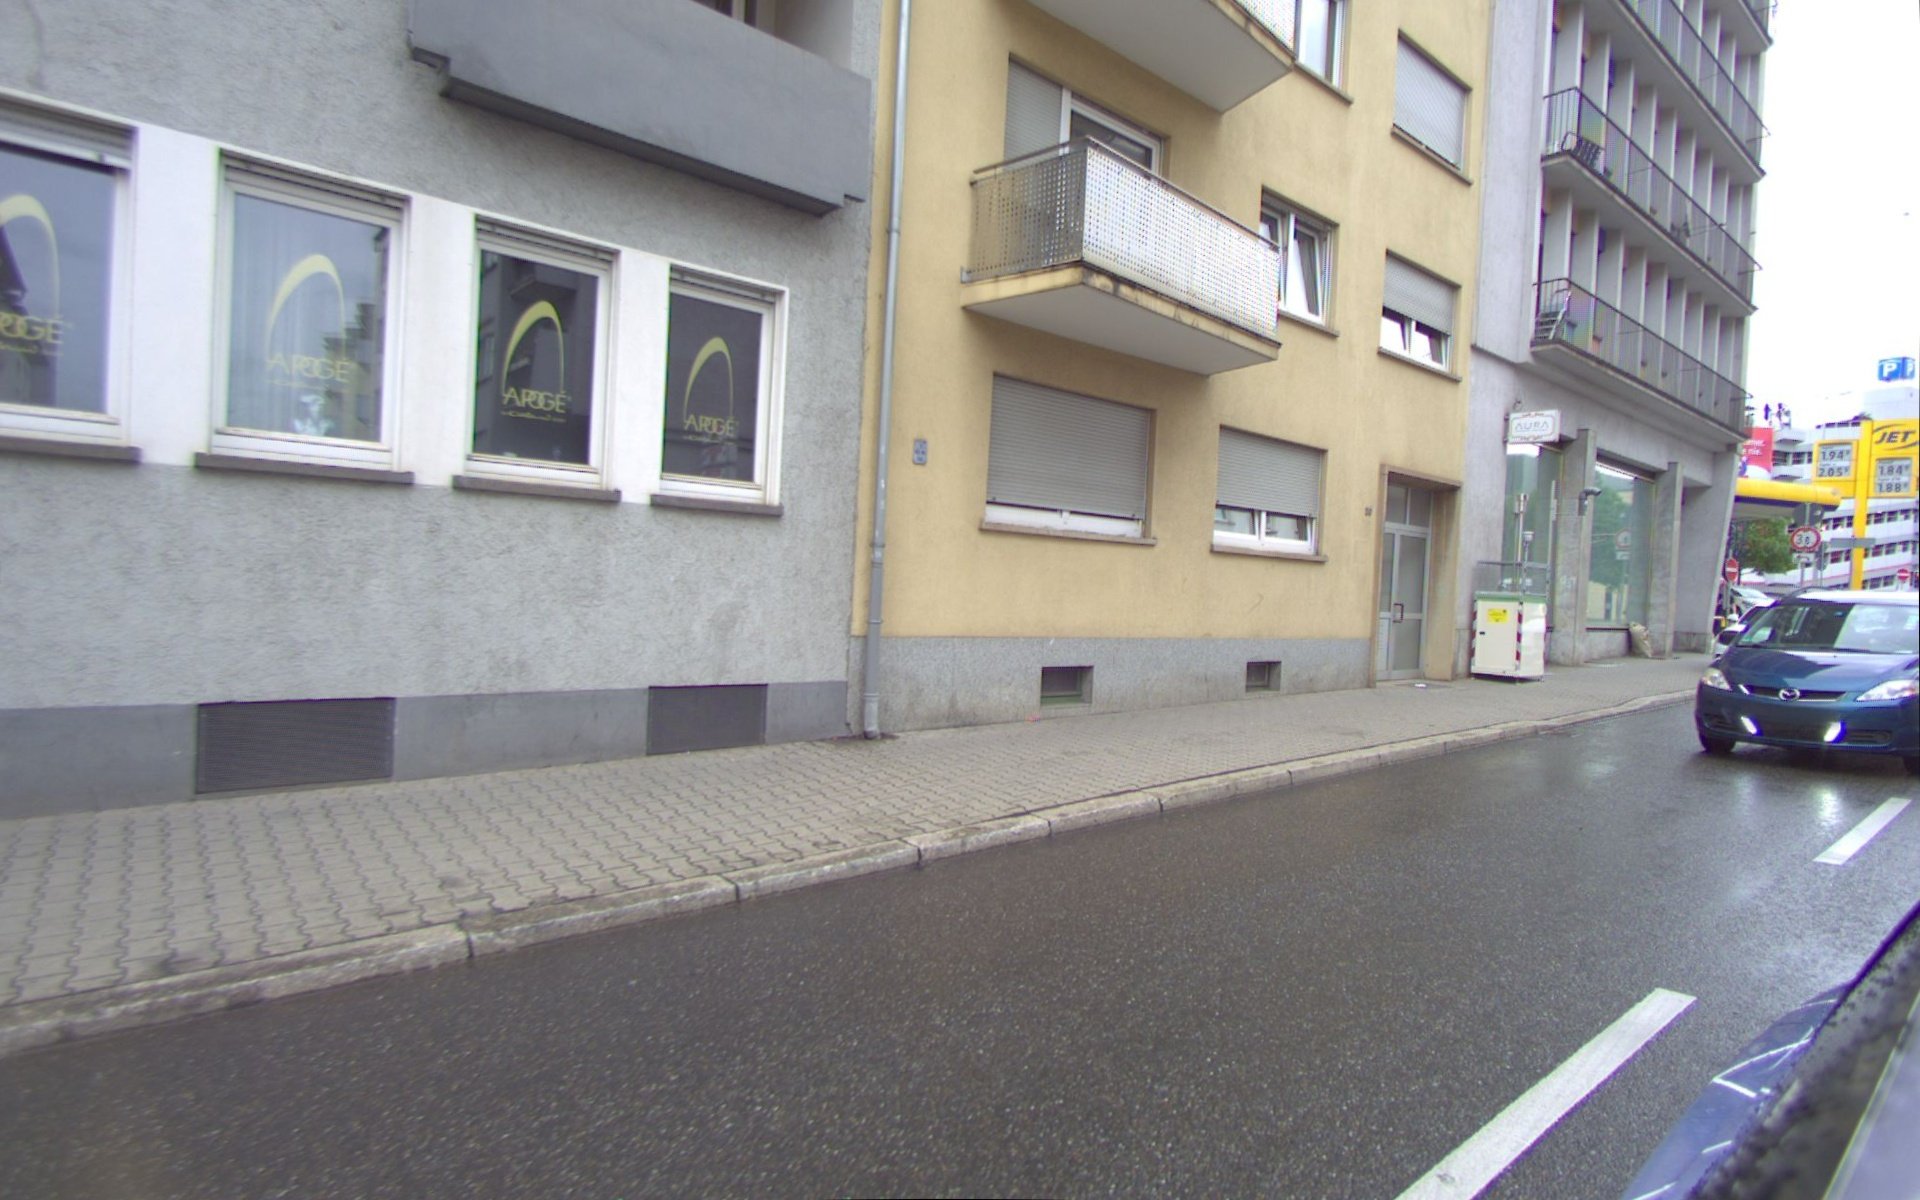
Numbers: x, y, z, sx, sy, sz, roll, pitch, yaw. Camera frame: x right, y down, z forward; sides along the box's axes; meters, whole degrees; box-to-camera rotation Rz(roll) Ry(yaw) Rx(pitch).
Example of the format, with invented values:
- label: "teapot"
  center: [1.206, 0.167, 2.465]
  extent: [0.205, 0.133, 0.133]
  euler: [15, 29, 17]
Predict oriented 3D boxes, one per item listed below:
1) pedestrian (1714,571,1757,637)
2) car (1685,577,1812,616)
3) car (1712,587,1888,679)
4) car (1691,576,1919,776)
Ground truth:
- label: "pedestrian"
  center: [21.356, 0.102, 27.863]
  extent: [0.872, 1.777, 0.679]
  euler: [1, 2, -39]
- label: "car"
  center: [32.231, -0.139, 41.527]
  extent: [1.736, 1.493, 4.006]
  euler: [0, 0, -9]
- label: "car"
  center: [15.857, 0.544, 19.040]
  extent: [4.092, 1.453, 1.803]
  euler: [0, 3, -40]
- label: "car"
  center: [9.023, 0.609, 10.046]
  extent: [4.135, 1.626, 1.812]
  euler: [0, 0, -38]
